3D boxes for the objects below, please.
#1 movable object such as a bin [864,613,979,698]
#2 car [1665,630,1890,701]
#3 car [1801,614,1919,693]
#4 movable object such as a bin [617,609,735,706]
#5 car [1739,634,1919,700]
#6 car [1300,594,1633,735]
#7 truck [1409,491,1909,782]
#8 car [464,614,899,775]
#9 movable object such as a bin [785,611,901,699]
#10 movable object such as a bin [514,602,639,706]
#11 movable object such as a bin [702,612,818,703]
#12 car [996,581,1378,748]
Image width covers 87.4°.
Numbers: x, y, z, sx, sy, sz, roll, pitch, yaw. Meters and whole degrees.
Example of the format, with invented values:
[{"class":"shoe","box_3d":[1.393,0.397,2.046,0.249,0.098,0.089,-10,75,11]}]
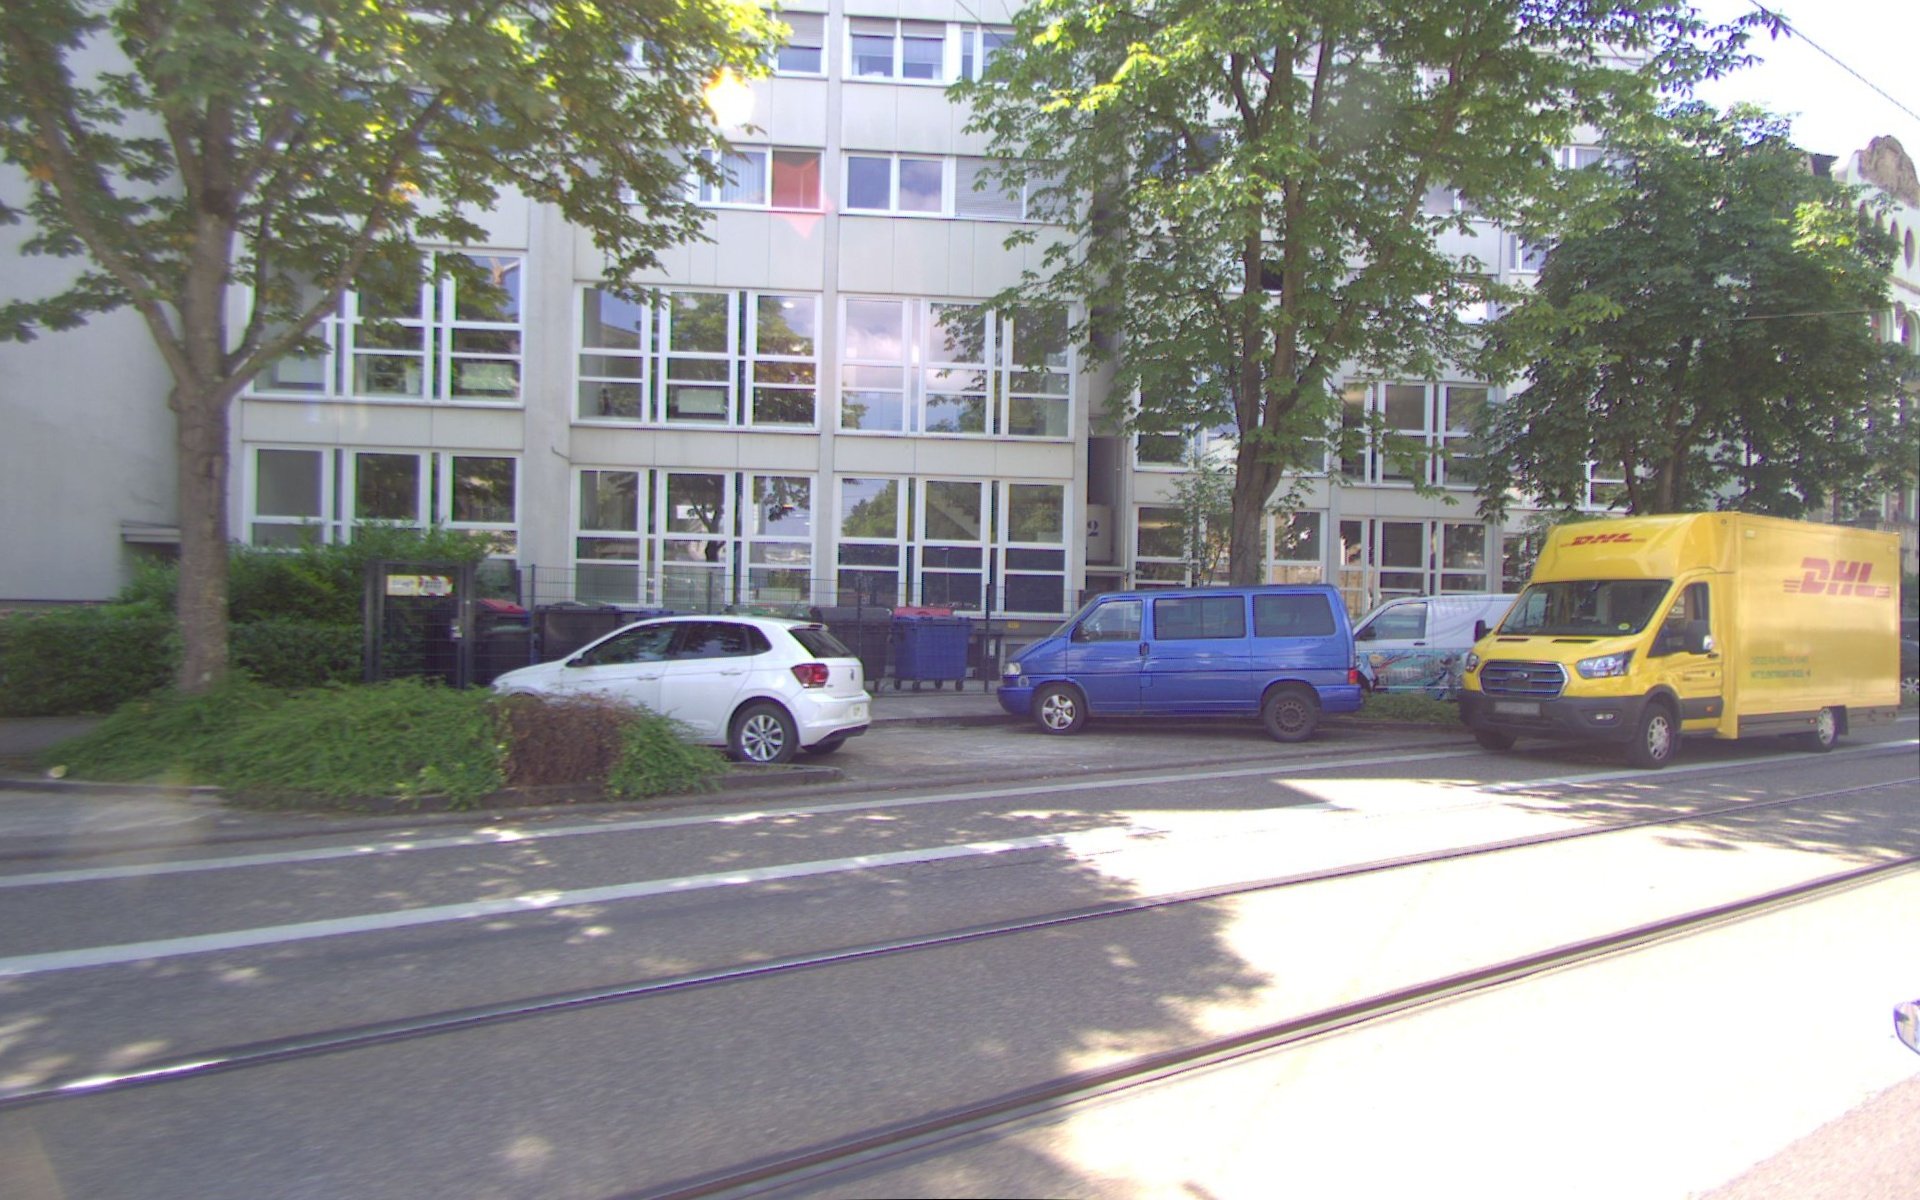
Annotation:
[{"class":"movable object such as a bin","box_3d":[-0.713,0.956,18.048,1.407,1.428,1.754,1,-1,-30]},{"class":"car","box_3d":[19.137,1.494,23.687,3.735,1.476,1.706,1,-1,15]},{"class":"car","box_3d":[25.096,1.424,26.268,4.400,1.966,1.704,1,-1,22]},{"class":"movable object such as a bin","box_3d":[-4.522,0.876,15.915,1.407,1.428,1.754,1,-1,-30]},{"class":"car","box_3d":[22.091,1.643,25.158,3.737,1.476,1.634,1,-1,20]},{"class":"car","box_3d":[8.138,0.991,16.657,4.670,2.089,2.026,0,-2,21]},{"class":"truck","box_3d":[9.123,0.445,12.838,7.289,2.890,2.350,1,-1,-30]},{"class":"car","box_3d":[-2.755,0.911,10.325,3.919,1.452,1.764,0,-3,12]},{"class":"movable object such as a bin","box_3d":[-2.052,0.922,17.425,1.407,1.428,1.754,1,-1,-30]},{"class":"movable object such as a bin","box_3d":[-5.738,0.773,14.970,1.472,1.428,1.754,1,-1,-30]},{"class":"movable object such as a bin","box_3d":[-3.356,0.921,16.766,1.407,1.428,1.754,1,-1,-30]},{"class":"car","box_3d":[2.951,0.793,13.413,4.636,1.981,1.848,0,-2,15]}]
